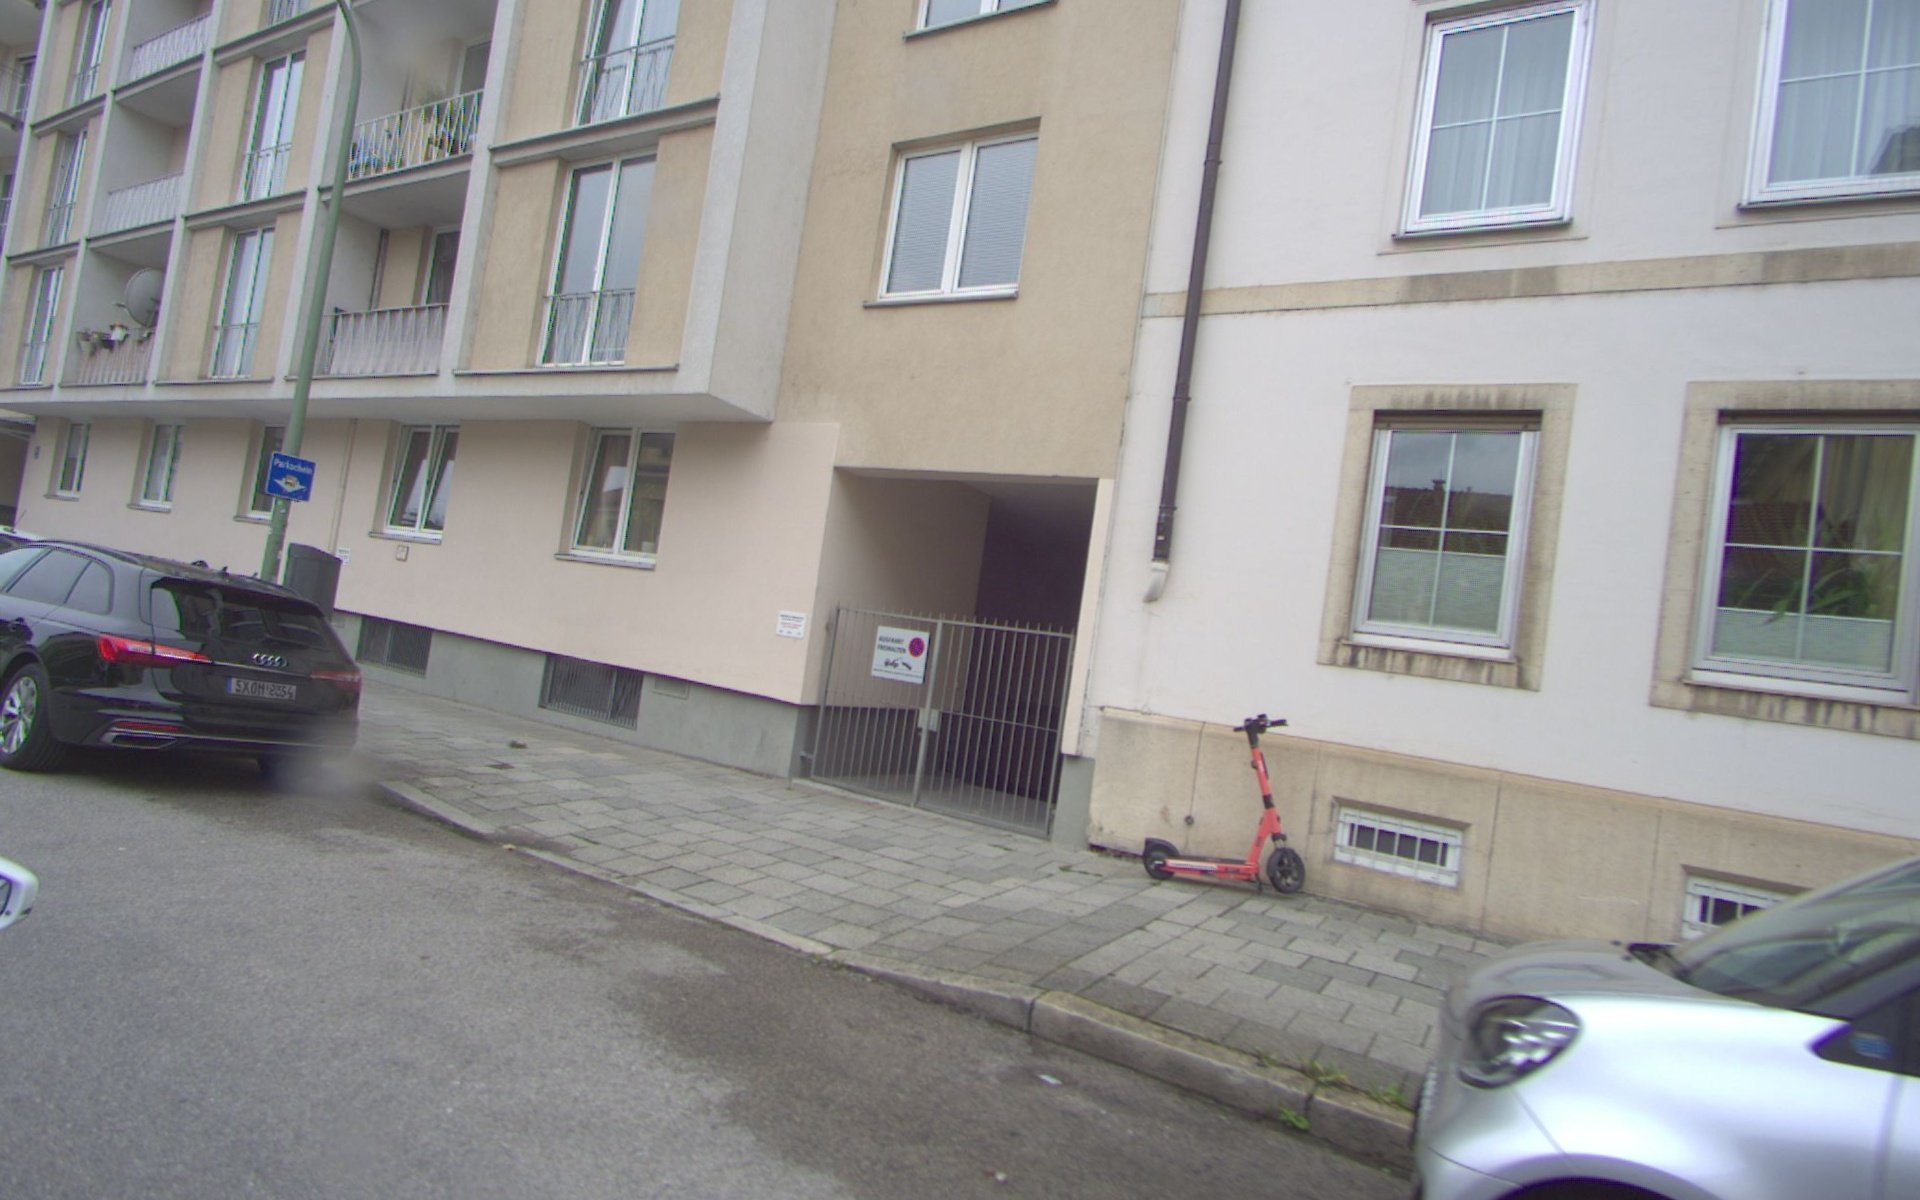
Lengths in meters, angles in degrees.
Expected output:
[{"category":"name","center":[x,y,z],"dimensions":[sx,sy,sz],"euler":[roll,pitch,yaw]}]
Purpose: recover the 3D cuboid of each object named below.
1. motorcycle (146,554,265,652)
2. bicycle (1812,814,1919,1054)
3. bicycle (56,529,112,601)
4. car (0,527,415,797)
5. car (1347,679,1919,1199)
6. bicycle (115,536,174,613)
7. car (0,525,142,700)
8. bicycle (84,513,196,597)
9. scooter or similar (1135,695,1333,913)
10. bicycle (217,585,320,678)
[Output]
[{"category":"motorcycle","center":[-11.878,0.035,15.821],"dimensions":[2.006,1.286,0.637],"euler":[6,-1,30]},{"category":"bicycle","center":[5.629,1.856,5.102],"dimensions":[1.806,1.105,0.630],"euler":[7,0,31]},{"category":"bicycle","center":[-16.117,-0.657,18.498],"dimensions":[1.373,1.217,0.446],"euler":[6,1,37]},{"category":"car","center":[-6.311,0.318,7.484],"dimensions":[4.416,1.395,1.834],"euler":[7,-5,31]},{"category":"car","center":[2.717,1.252,2.039],"dimensions":[3.324,1.530,1.622],"euler":[7,-7,32]},{"category":"bicycle","center":[-14.125,-0.451,17.414],"dimensions":[1.321,1.217,0.392],"euler":[6,1,36]},{"category":"car","center":[-10.453,-0.101,10.240],"dimensions":[4.049,1.481,1.711],"euler":[6,-7,29]},{"category":"bicycle","center":[-13.269,-0.708,16.312],"dimensions":[0.386,1.217,1.342],"euler":[6,0,17]},{"category":"scooter or similar","center":[1.985,1.423,7.261],"dimensions":[1.077,1.289,0.731],"euler":[7,-2,31]},{"category":"bicycle","center":[-10.213,0.461,14.848],"dimensions":[1.574,1.170,0.515],"euler":[6,-1,30]}]
